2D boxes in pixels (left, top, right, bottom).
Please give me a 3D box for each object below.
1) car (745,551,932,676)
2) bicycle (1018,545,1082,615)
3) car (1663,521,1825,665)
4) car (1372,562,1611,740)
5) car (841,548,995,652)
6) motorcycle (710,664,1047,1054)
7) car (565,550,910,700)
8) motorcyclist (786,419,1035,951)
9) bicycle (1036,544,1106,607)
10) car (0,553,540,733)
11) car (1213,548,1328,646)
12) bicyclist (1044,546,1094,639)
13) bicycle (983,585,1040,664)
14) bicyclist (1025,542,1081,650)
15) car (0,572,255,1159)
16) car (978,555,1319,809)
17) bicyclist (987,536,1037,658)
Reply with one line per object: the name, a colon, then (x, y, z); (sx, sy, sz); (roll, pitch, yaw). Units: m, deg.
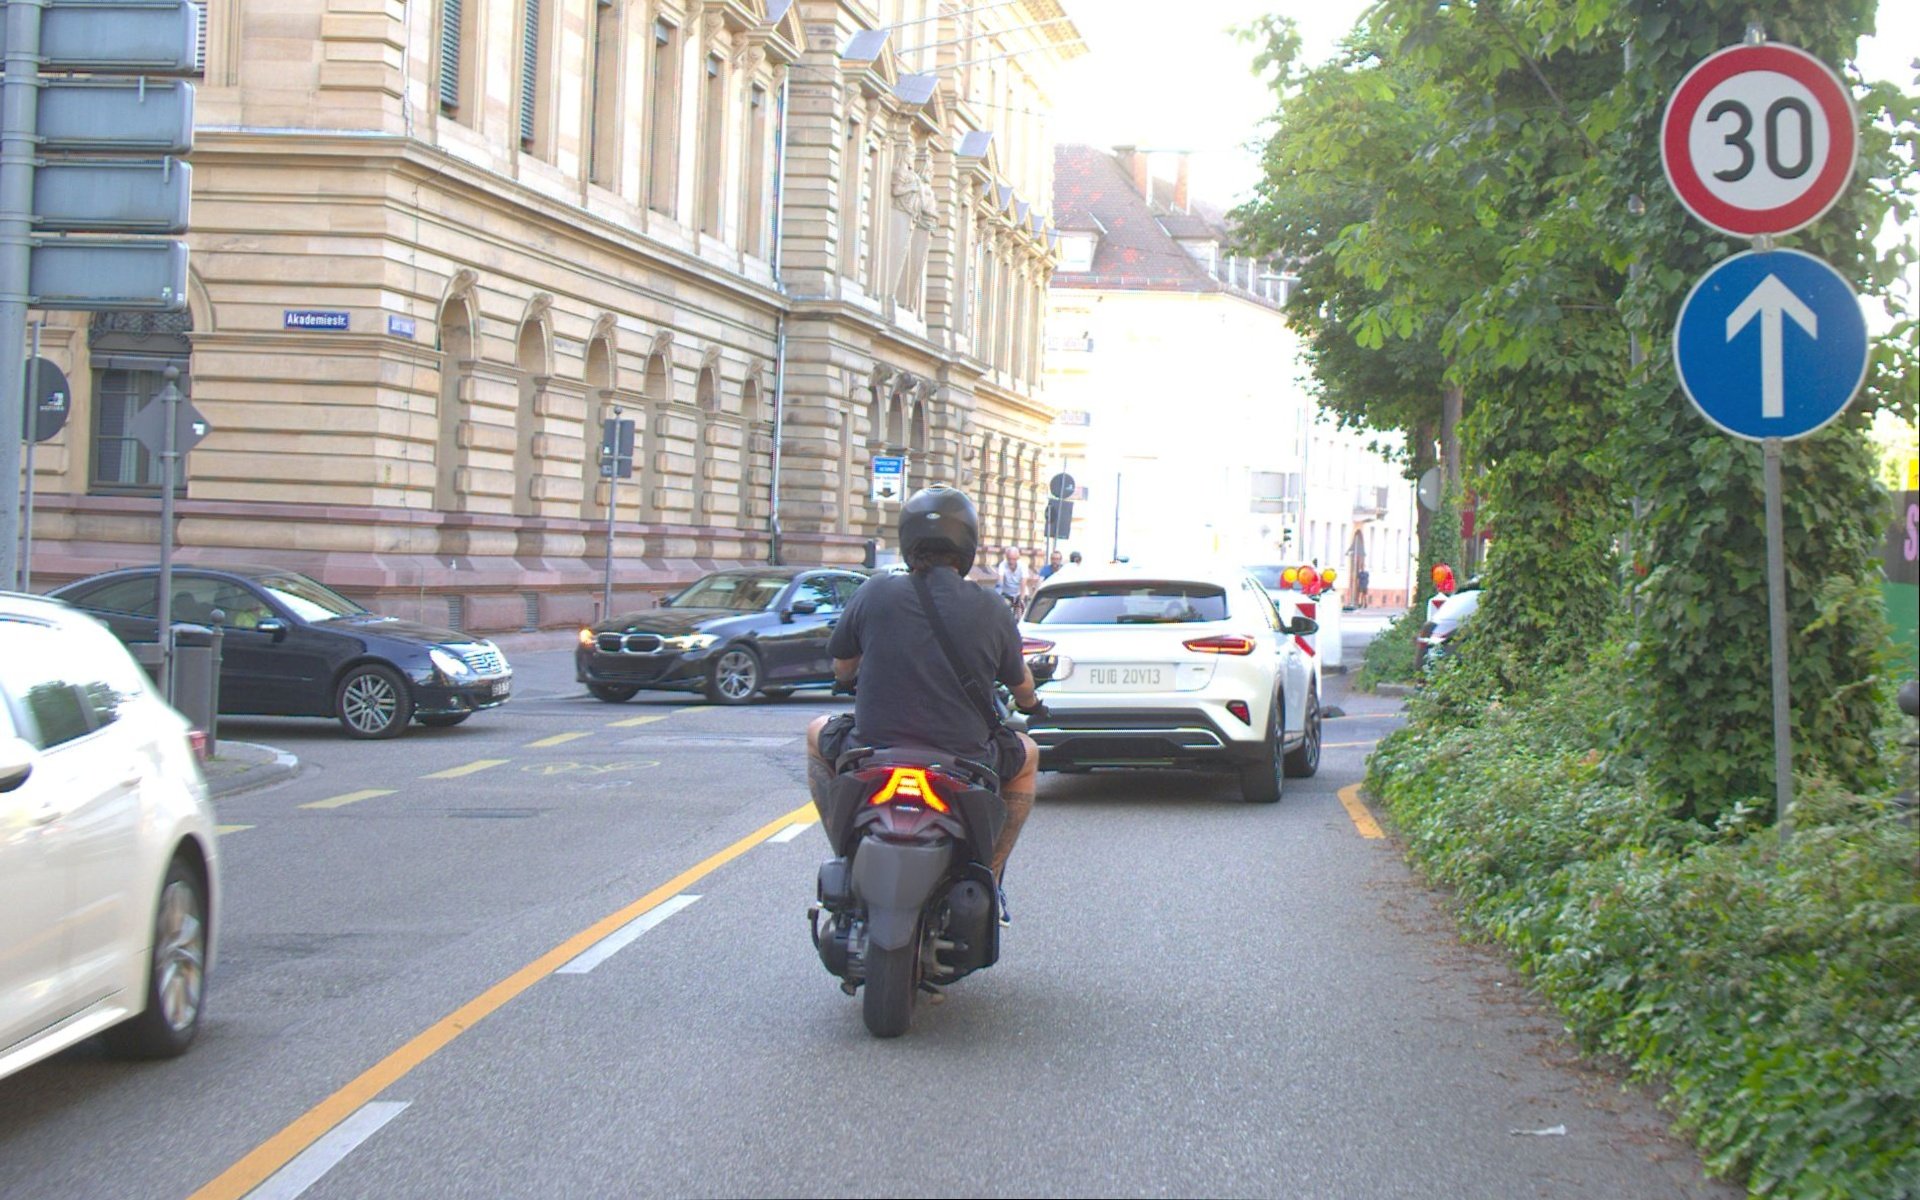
car: (-1.575, 0.136, 46.143); (1.994, 1.561, 4.288); (1, 1, 5)
bicycle: (1.375, -0.313, 52.432); (0.533, 1.031, 1.906); (1, 1, 15)
car: (11.330, -0.117, 49.898); (1.841, 1.906, 4.056); (3, 1, 8)
car: (5.047, 0.439, 32.273); (1.841, 1.458, 4.055); (3, 1, 13)
car: (-0.610, -0.031, 53.397); (1.994, 1.523, 4.184); (1, 1, 5)
motorcycle: (-0.221, 0.782, 11.050); (0.797, 1.062, 1.725); (3, 1, 7)
car: (-2.262, 0.220, 36.275); (1.772, 1.456, 4.464); (1, 1, 24)
motorcyclist: (-0.151, 0.263, 11.168); (0.657, 1.645, 0.650); (3, 1, 5)
bicycle: (1.880, -0.425, 57.969); (0.533, 1.031, 2.034); (1, 1, 20)
car: (-5.899, 0.329, 29.094); (4.315, 1.385, 1.775); (1, 1, 10)
car: (5.664, -0.084, 62.945); (1.994, 1.689, 4.398); (1, 1, 5)
bicyclist: (1.840, -0.132, 58.006); (0.629, 1.548, 0.731); (1, 1, 20)
bicycle: (0.720, 0.324, 47.517); (0.583, 1.031, 2.128); (1, 1, 6)
bicyclist: (1.420, -0.066, 52.410); (0.628, 1.608, 0.869); (1, 1, 15)
car: (-3.221, 0.675, 8.827); (1.735, 1.416, 4.428); (-1, 1, 2)
car: (1.324, 0.456, 22.450); (1.851, 1.475, 4.056); (0, 1, 8)
bicyclist: (0.716, -0.049, 47.311); (0.566, 1.661, 0.834); (1, 1, 7)
